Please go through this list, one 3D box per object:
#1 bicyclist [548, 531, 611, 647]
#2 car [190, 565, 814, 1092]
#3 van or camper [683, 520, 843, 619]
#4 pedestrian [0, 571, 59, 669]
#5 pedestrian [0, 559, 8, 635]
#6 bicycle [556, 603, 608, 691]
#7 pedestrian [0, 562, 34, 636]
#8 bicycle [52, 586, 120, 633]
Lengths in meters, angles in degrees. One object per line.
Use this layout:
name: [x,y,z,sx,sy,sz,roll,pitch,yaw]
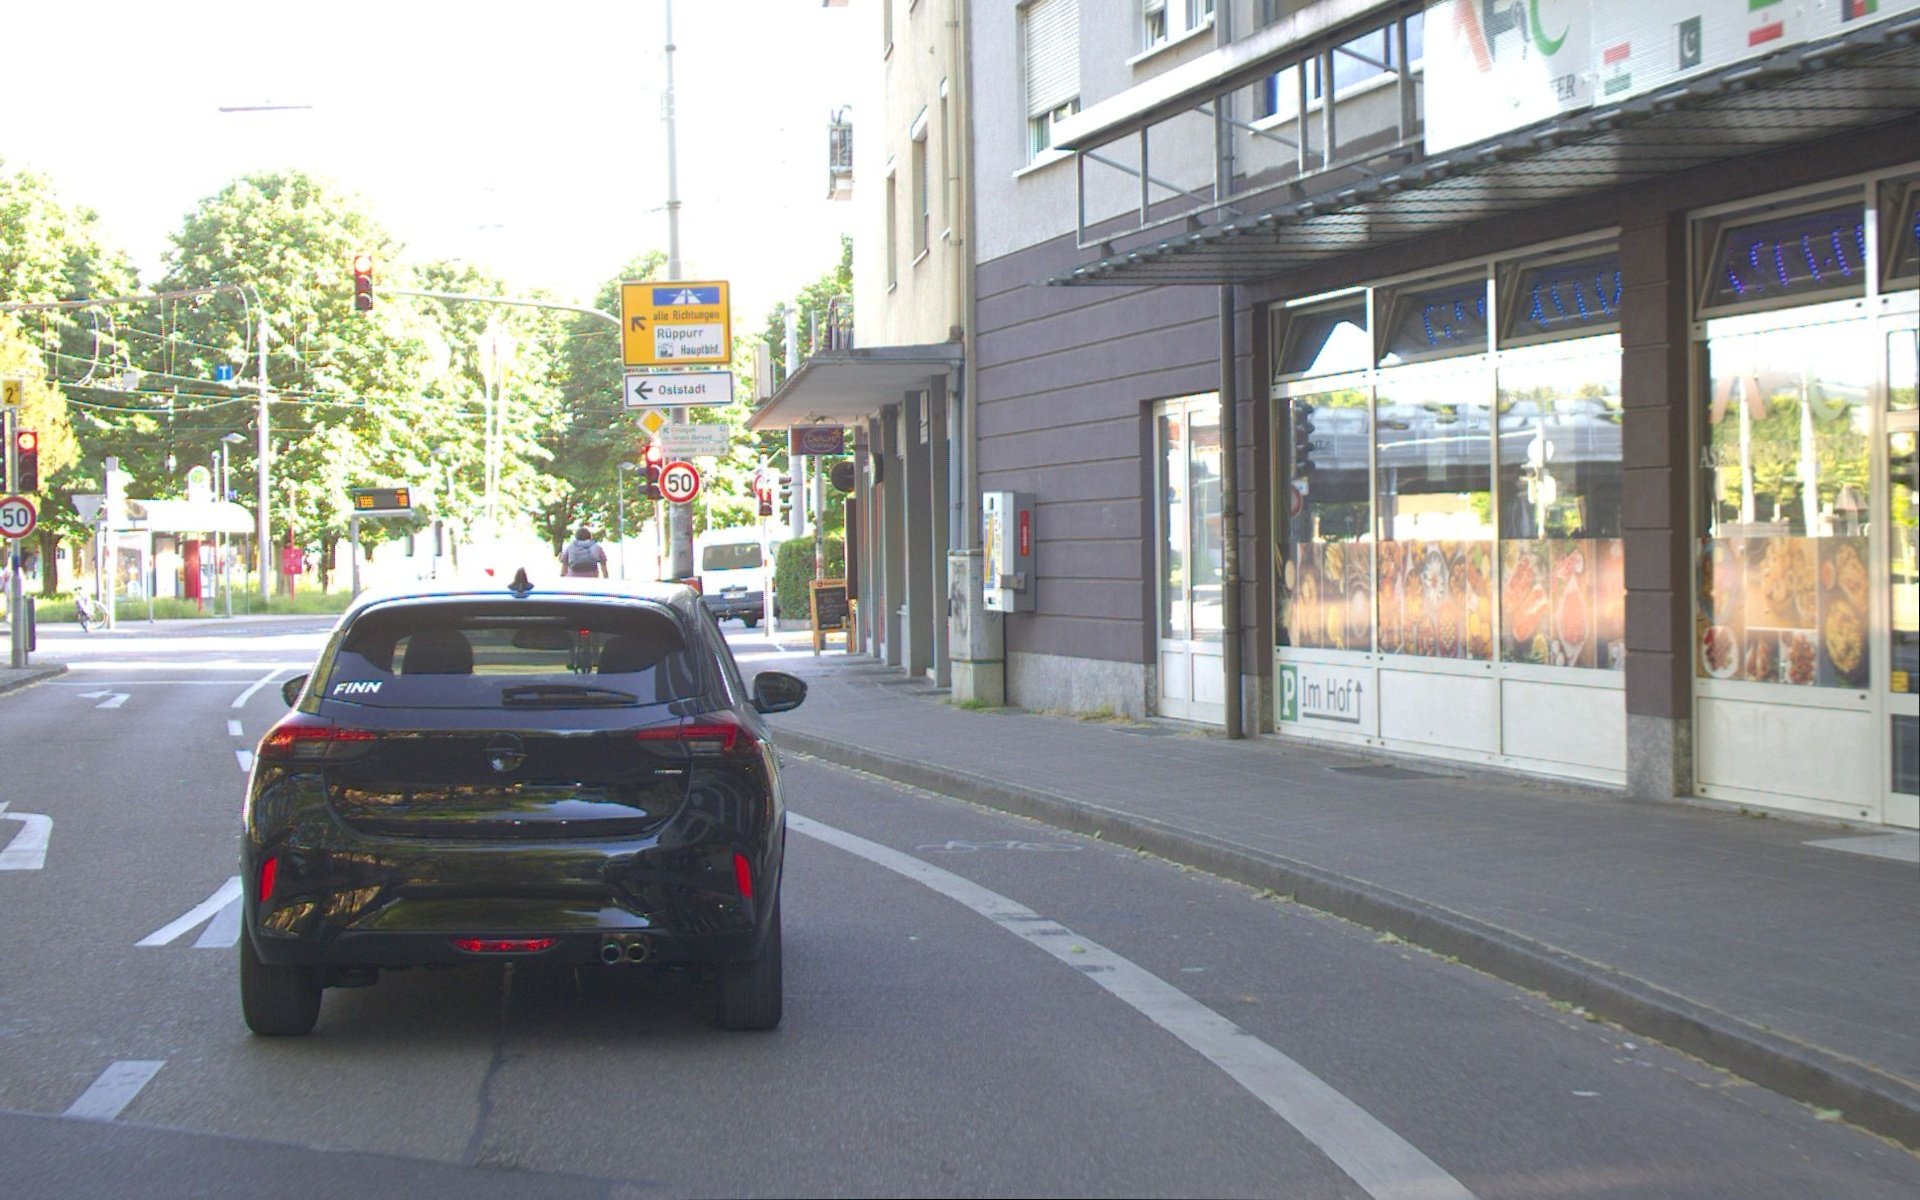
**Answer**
bicyclist: [-4.758,-0.142,42.986,0.706,1.431,0.702,-1,1,-1]
car: [-1.527,0.637,11.916,1.781,1.491,4.001,0,1,-6]
van or camper: [-4.375,-0.674,77.133,2.170,2.138,4.502,1,0,17]
pedestrian: [-13.013,0.278,48.061,0.653,1.359,0.645,-1,0,-1]
pedestrian: [-24.581,-0.084,87.060,0.658,1.926,0.608,1,0,19]
bicycle: [-4.730,0.579,43.042,0.508,1.063,1.564,-1,1,-1]
pedestrian: [-23.876,-0.029,87.057,0.616,1.847,0.583,1,0,11]
bicycle: [-19.086,0.201,75.125,0.788,0.988,2.243,1,0,3]
